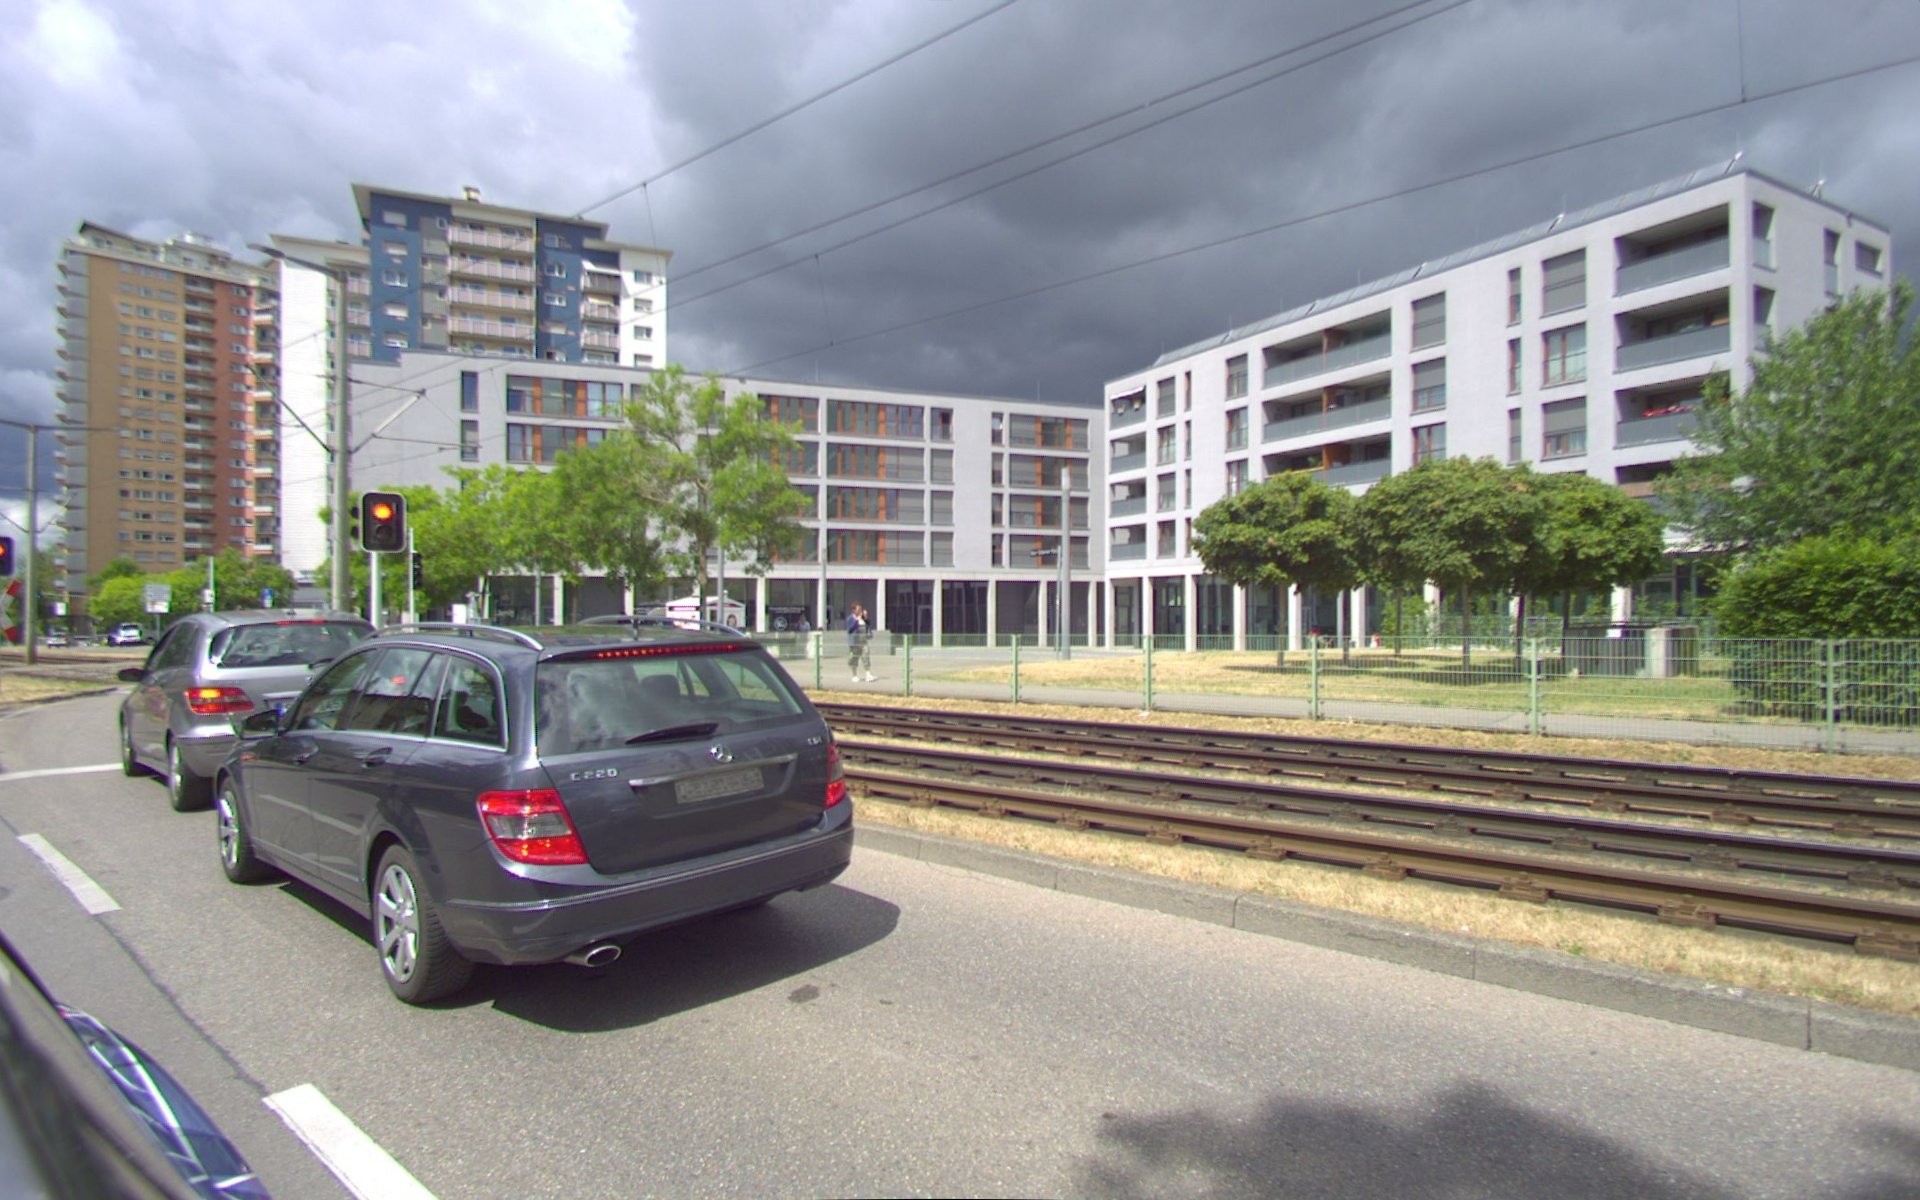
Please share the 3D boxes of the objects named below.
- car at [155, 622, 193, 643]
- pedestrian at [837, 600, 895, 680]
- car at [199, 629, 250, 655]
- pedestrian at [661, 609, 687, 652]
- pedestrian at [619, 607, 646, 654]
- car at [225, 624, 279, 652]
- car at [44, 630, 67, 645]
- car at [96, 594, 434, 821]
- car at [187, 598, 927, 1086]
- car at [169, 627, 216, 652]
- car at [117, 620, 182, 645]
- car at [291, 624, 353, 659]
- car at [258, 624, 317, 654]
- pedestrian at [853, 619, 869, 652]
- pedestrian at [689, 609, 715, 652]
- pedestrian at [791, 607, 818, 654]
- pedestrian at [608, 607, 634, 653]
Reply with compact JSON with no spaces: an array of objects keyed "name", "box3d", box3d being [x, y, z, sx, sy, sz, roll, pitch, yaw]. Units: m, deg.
[{"name":"car","box3d":[-64.534,2.671,83.082,3.802,1.672,1.758,-2,-1,41]},{"name":"pedestrian","box3d":[-1.956,0.817,21.105,0.937,1.625,0.746,-2,-1,41]},{"name":"car","box3d":[-46.086,2.606,63.383,3.802,1.551,1.758,-2,-1,41]},{"name":"pedestrian","box3d":[-13.656,1.472,48.369,0.906,2.029,0.728,-2,-1,24]},{"name":"pedestrian","box3d":[-11.983,1.107,37.023,0.538,1.666,0.739,-2,-1,42]},{"name":"car","box3d":[-41.392,2.225,59.155,3.802,1.551,1.758,-2,-1,41]},{"name":"car","box3d":[-95.493,3.912,106.822,1.756,1.511,3.807,-1,-1,-43]},{"name":"car","box3d":[-6.720,0.834,9.596,4.177,1.672,1.837,-2,-1,44]},{"name":"car","box3d":[-2.394,0.773,5.228,4.464,1.456,1.791,-2,-1,43]},{"name":"car","box3d":[-51.371,2.605,67.703,3.802,1.551,1.758,-2,-1,41]},{"name":"car","box3d":[-68.343,2.683,85.384,1.856,1.940,4.495,-1,0,1]},{"name":"car","box3d":[-32.116,2.048,50.932,1.867,1.635,3.806,-1,-1,-45]},{"name":"car","box3d":[-36.755,2.101,55.267,3.803,1.551,1.868,-2,-1,43]},{"name":"pedestrian","box3d":[-5.829,2.096,59.641,0.737,1.920,0.540,-1,-1,-21]},{"name":"pedestrian","box3d":[-12.241,1.437,48.019,0.906,2.029,0.728,-2,-1,24]},{"name":"pedestrian","box3d":[-5.420,1.068,35.323,0.744,1.623,0.535,-1,-1,19]},{"name":"pedestrian","box3d":[-12.561,1.098,37.515,0.538,1.666,0.739,-2,-1,42]}]
